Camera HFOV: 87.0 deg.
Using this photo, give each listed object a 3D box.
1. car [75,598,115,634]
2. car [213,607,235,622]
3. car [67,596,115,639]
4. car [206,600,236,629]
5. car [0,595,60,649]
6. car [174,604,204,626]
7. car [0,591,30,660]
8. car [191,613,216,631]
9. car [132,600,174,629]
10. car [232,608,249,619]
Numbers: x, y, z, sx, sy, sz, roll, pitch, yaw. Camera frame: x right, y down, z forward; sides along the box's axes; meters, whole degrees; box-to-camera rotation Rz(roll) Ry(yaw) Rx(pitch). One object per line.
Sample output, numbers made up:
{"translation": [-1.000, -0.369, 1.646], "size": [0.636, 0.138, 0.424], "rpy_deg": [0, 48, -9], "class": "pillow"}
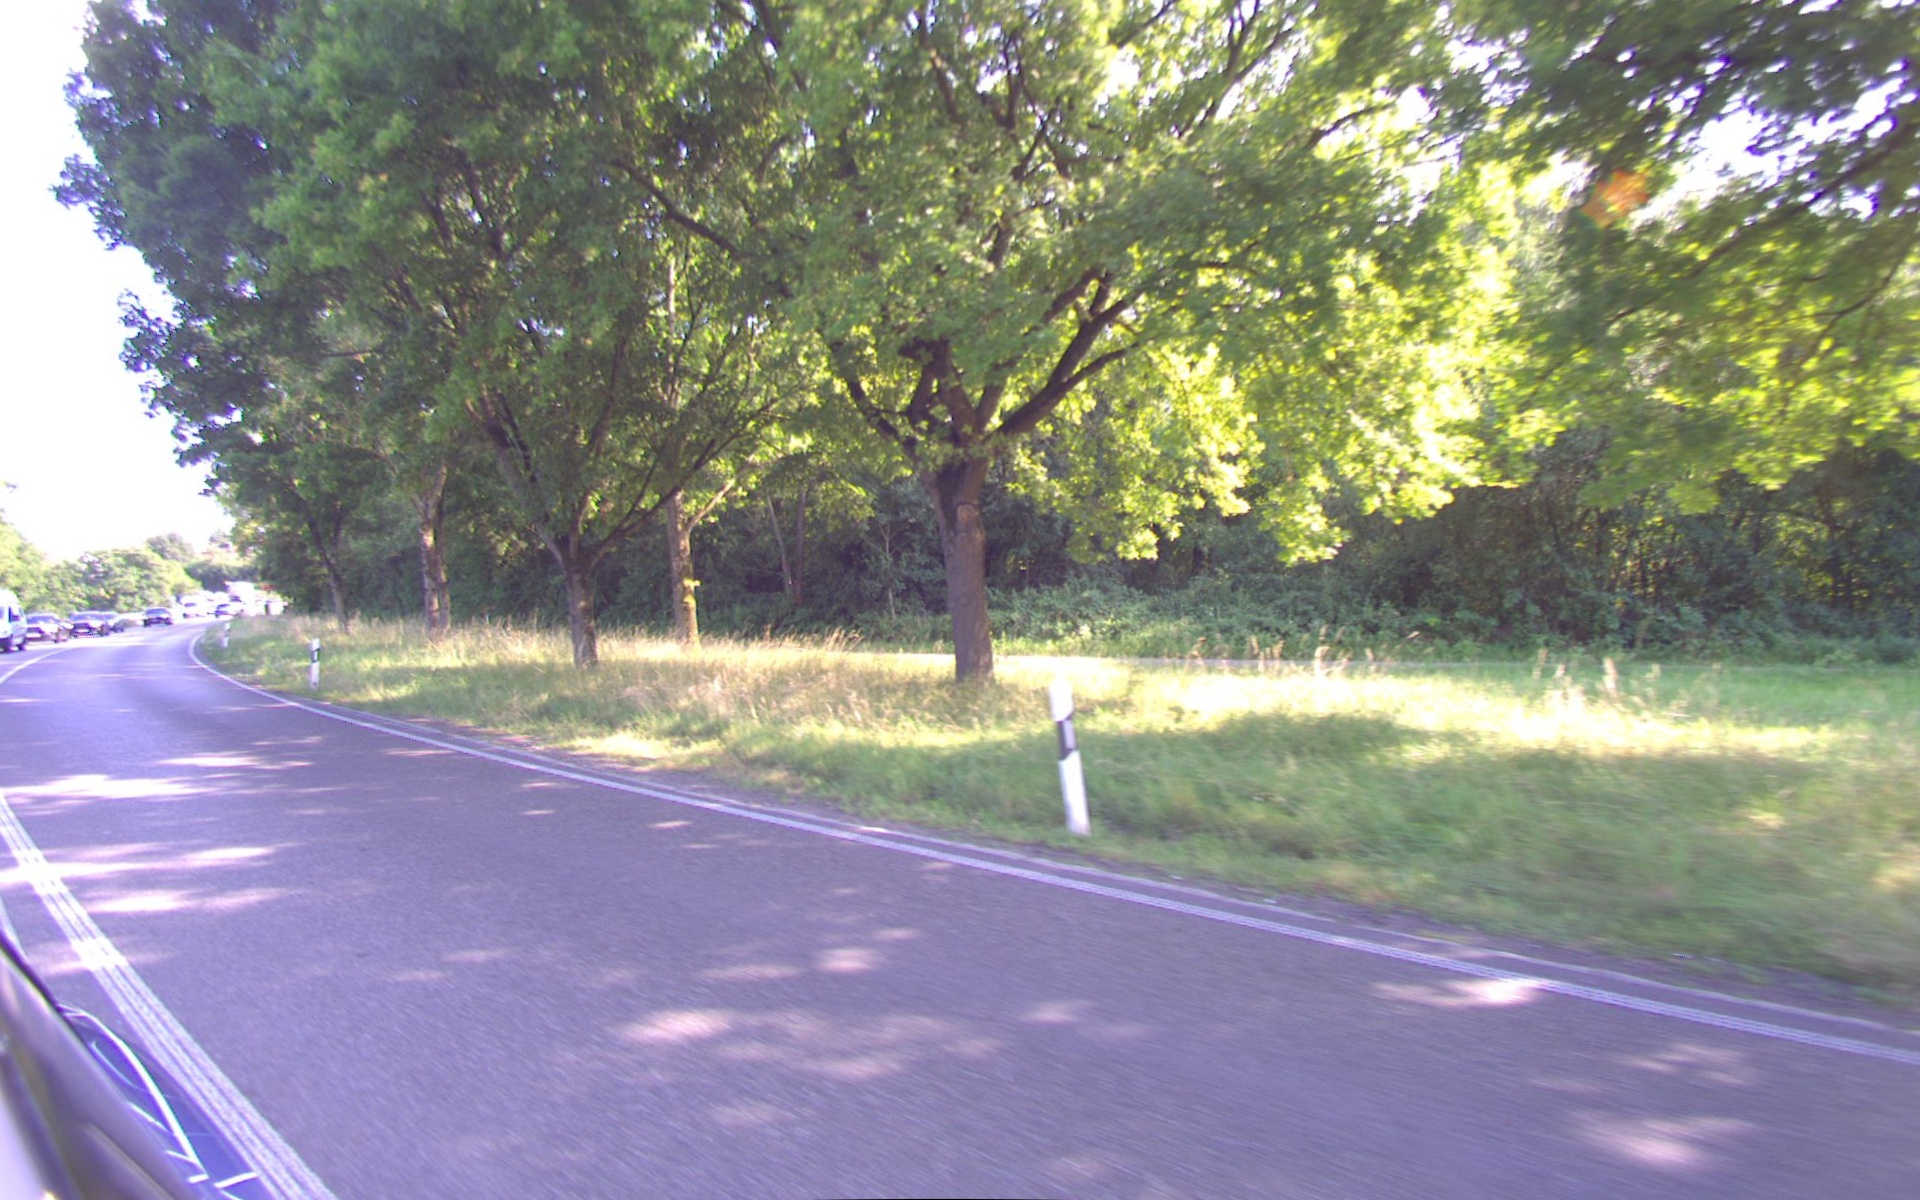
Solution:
{"translation": [-60.458, 1.090, 70.750], "size": [2.057, 2.435, 5.150], "rpy_deg": [-1, 0, -40], "class": "car"}
{"translation": [-83.007, 1.595, 114.208], "size": [1.871, 1.644, 4.261], "rpy_deg": [-1, 0, -35], "class": "car"}
{"translation": [-51.570, 1.014, 60.083], "size": [2.057, 2.435, 5.150], "rpy_deg": [-1, 0, -40], "class": "car"}
{"translation": [-64.751, 1.273, 88.698], "size": [2.055, 2.435, 5.155], "rpy_deg": [-1, 0, -36], "class": "car"}
{"translation": [-44.080, 1.000, 47.908], "size": [2.057, 2.435, 5.150], "rpy_deg": [-1, 0, -40], "class": "car"}
{"translation": [-92.143, 1.774, 120.980], "size": [2.054, 2.435, 5.158], "rpy_deg": [-1, 0, -29], "class": "car"}
{"translation": [-36.025, 0.918, 37.151], "size": [2.055, 2.435, 5.155], "rpy_deg": [-1, 0, -35], "class": "car"}
{"translation": [-105.982, 3.057, 141.860], "size": [2.054, 2.435, 5.158], "rpy_deg": [-1, 0, -29], "class": "car"}
{"translation": [-71.766, 1.276, 90.066], "size": [2.054, 2.435, 5.158], "rpy_deg": [-1, 0, -29], "class": "car"}
{"translation": [-109.330, 2.026, 153.834], "size": [1.864, 1.644, 4.263], "rpy_deg": [-1, 0, -32], "class": "car"}
